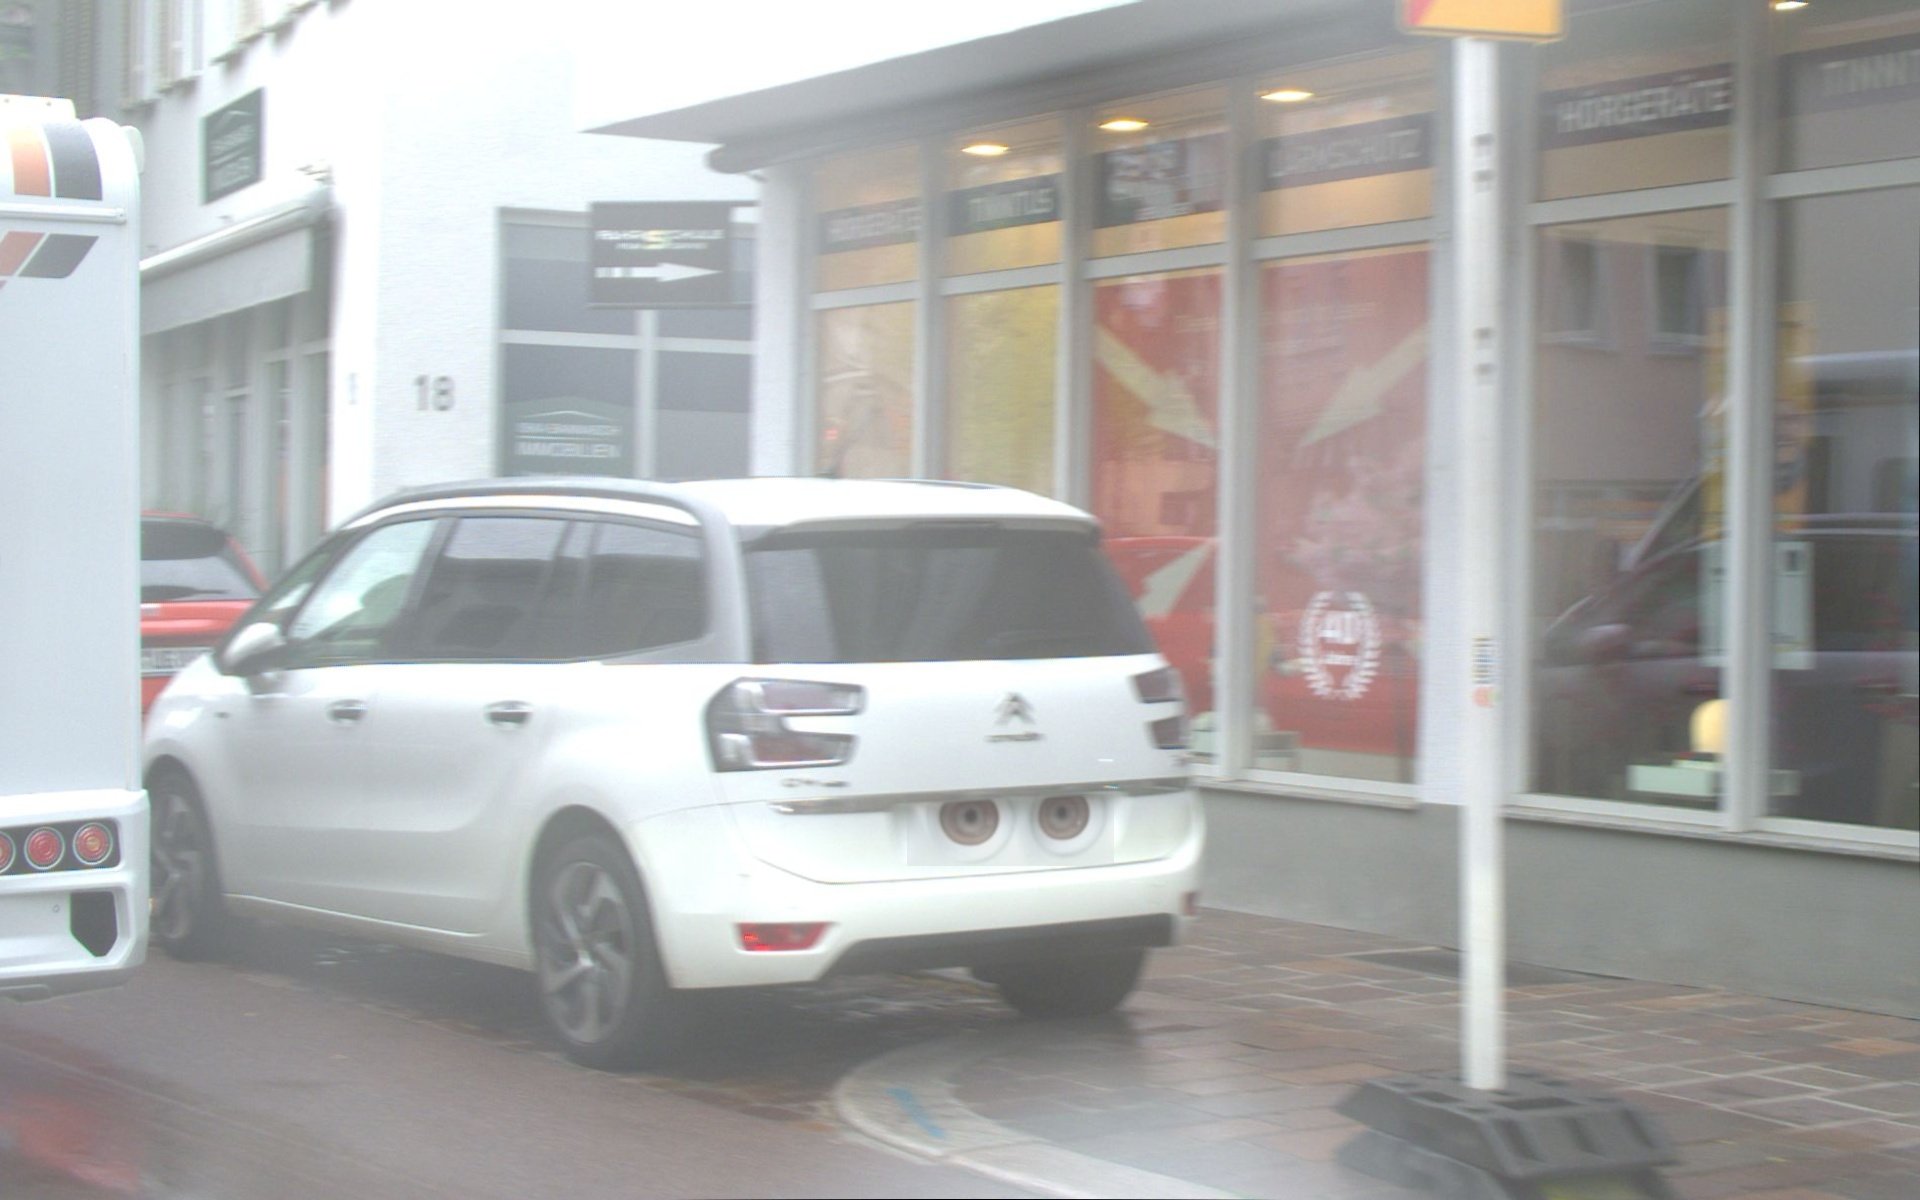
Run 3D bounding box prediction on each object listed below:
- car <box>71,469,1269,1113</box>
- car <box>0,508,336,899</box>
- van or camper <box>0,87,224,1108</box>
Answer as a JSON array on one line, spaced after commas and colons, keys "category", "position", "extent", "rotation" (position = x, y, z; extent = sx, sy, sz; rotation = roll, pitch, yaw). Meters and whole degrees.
[{"category": "car", "position": [-1.156, 0.443, 11.005], "extent": [1.776, 1.625, 4.469], "rotation": [0, 1, -36]}, {"category": "car", "position": [-4.352, 0.357, 15.366], "extent": [1.677, 1.523, 3.799], "rotation": [-1, 2, -34]}, {"category": "van or camper", "position": [-4.911, -0.089, 11.042], "extent": [2.438, 2.577, 6.750], "rotation": [1, 1, -36]}]
